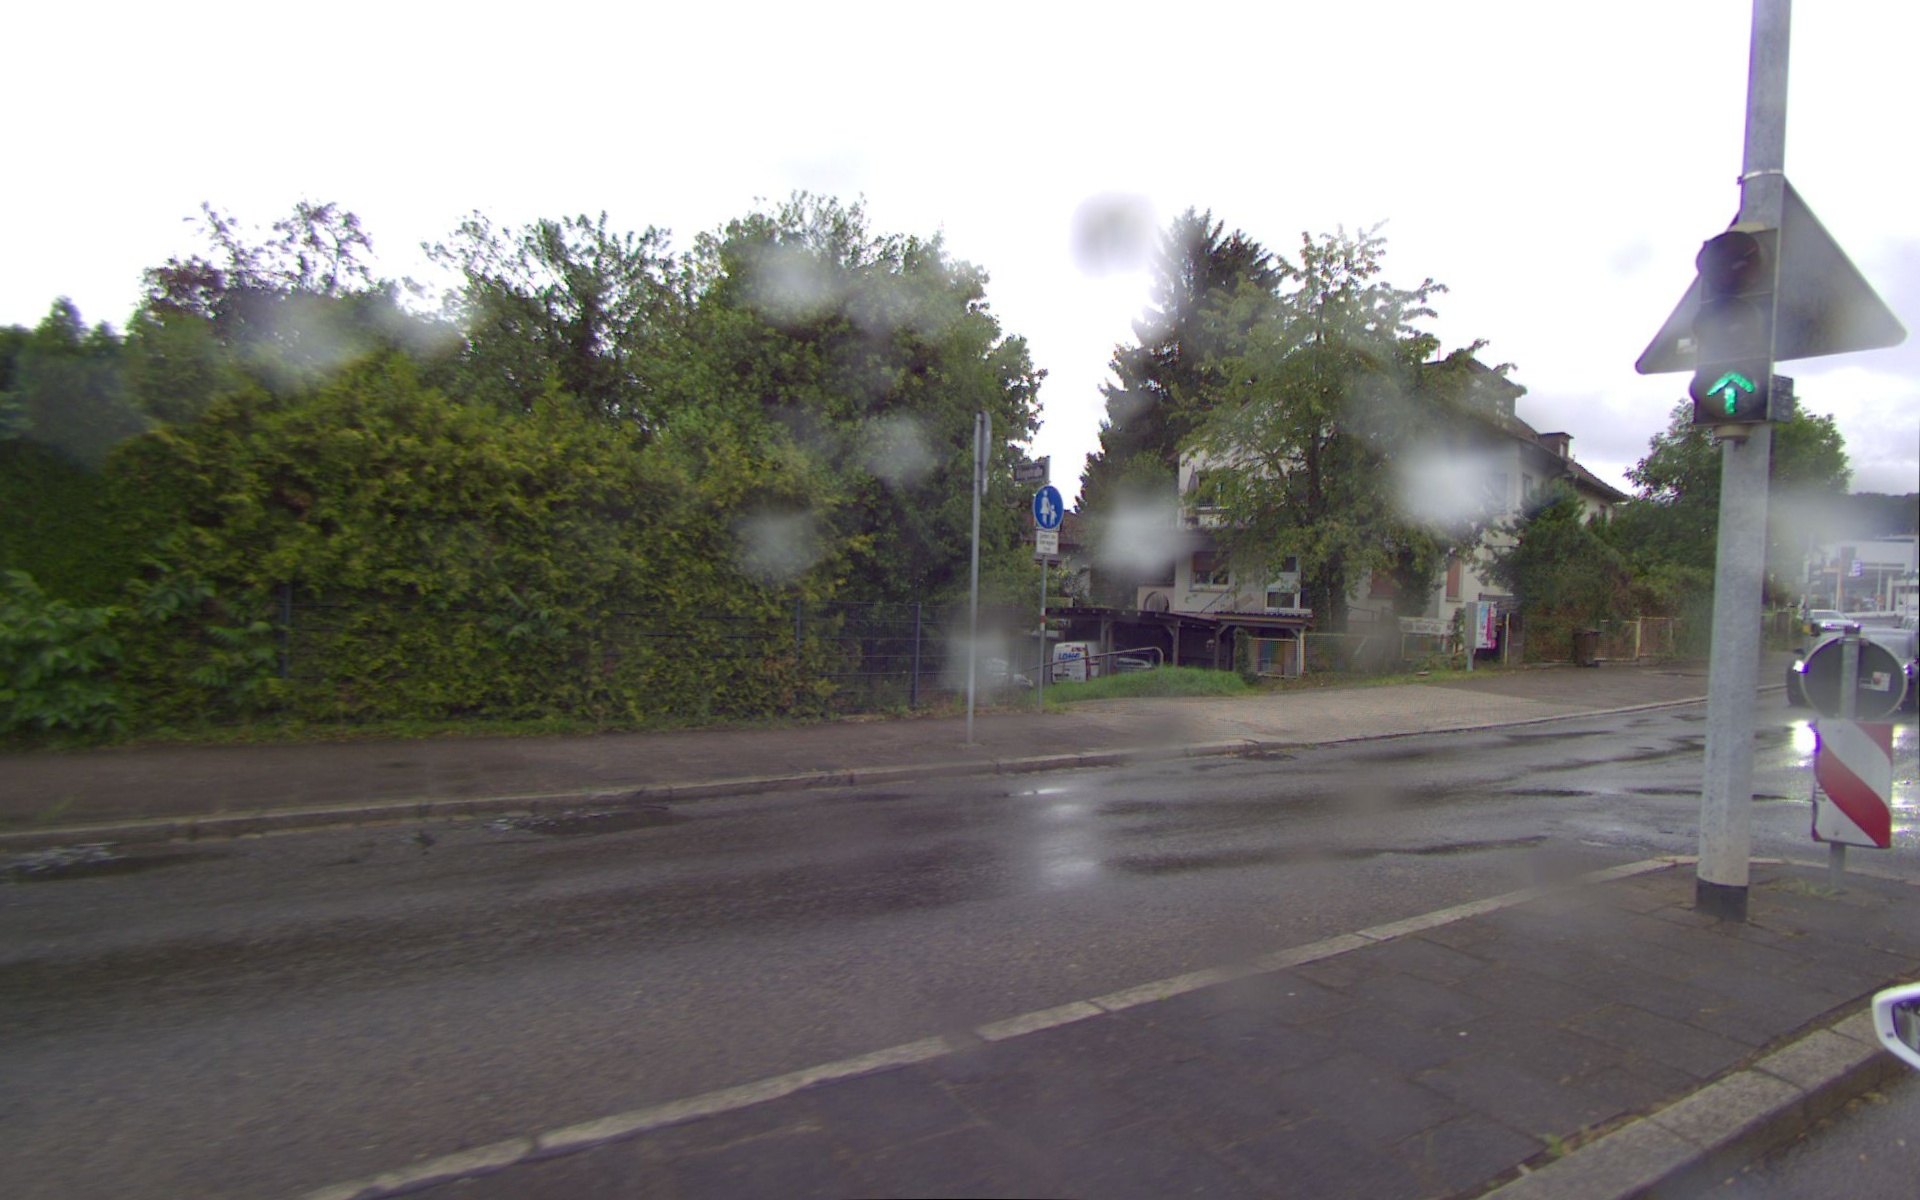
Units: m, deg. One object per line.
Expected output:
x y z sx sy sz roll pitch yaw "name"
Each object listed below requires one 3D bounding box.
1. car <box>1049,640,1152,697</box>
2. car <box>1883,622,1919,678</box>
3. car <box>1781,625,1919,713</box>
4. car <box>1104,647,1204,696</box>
4.970 2.397 35.231 1.773 1.884 3.984 -4 -5 38 "car"
28.873 1.467 29.700 3.967 1.585 1.834 2 -1 -40 "car"
17.400 1.249 19.320 4.120 1.509 1.778 2 -2 -40 "car"
6.469 2.337 33.245 1.771 1.503 3.988 -3 -4 35 "car"
